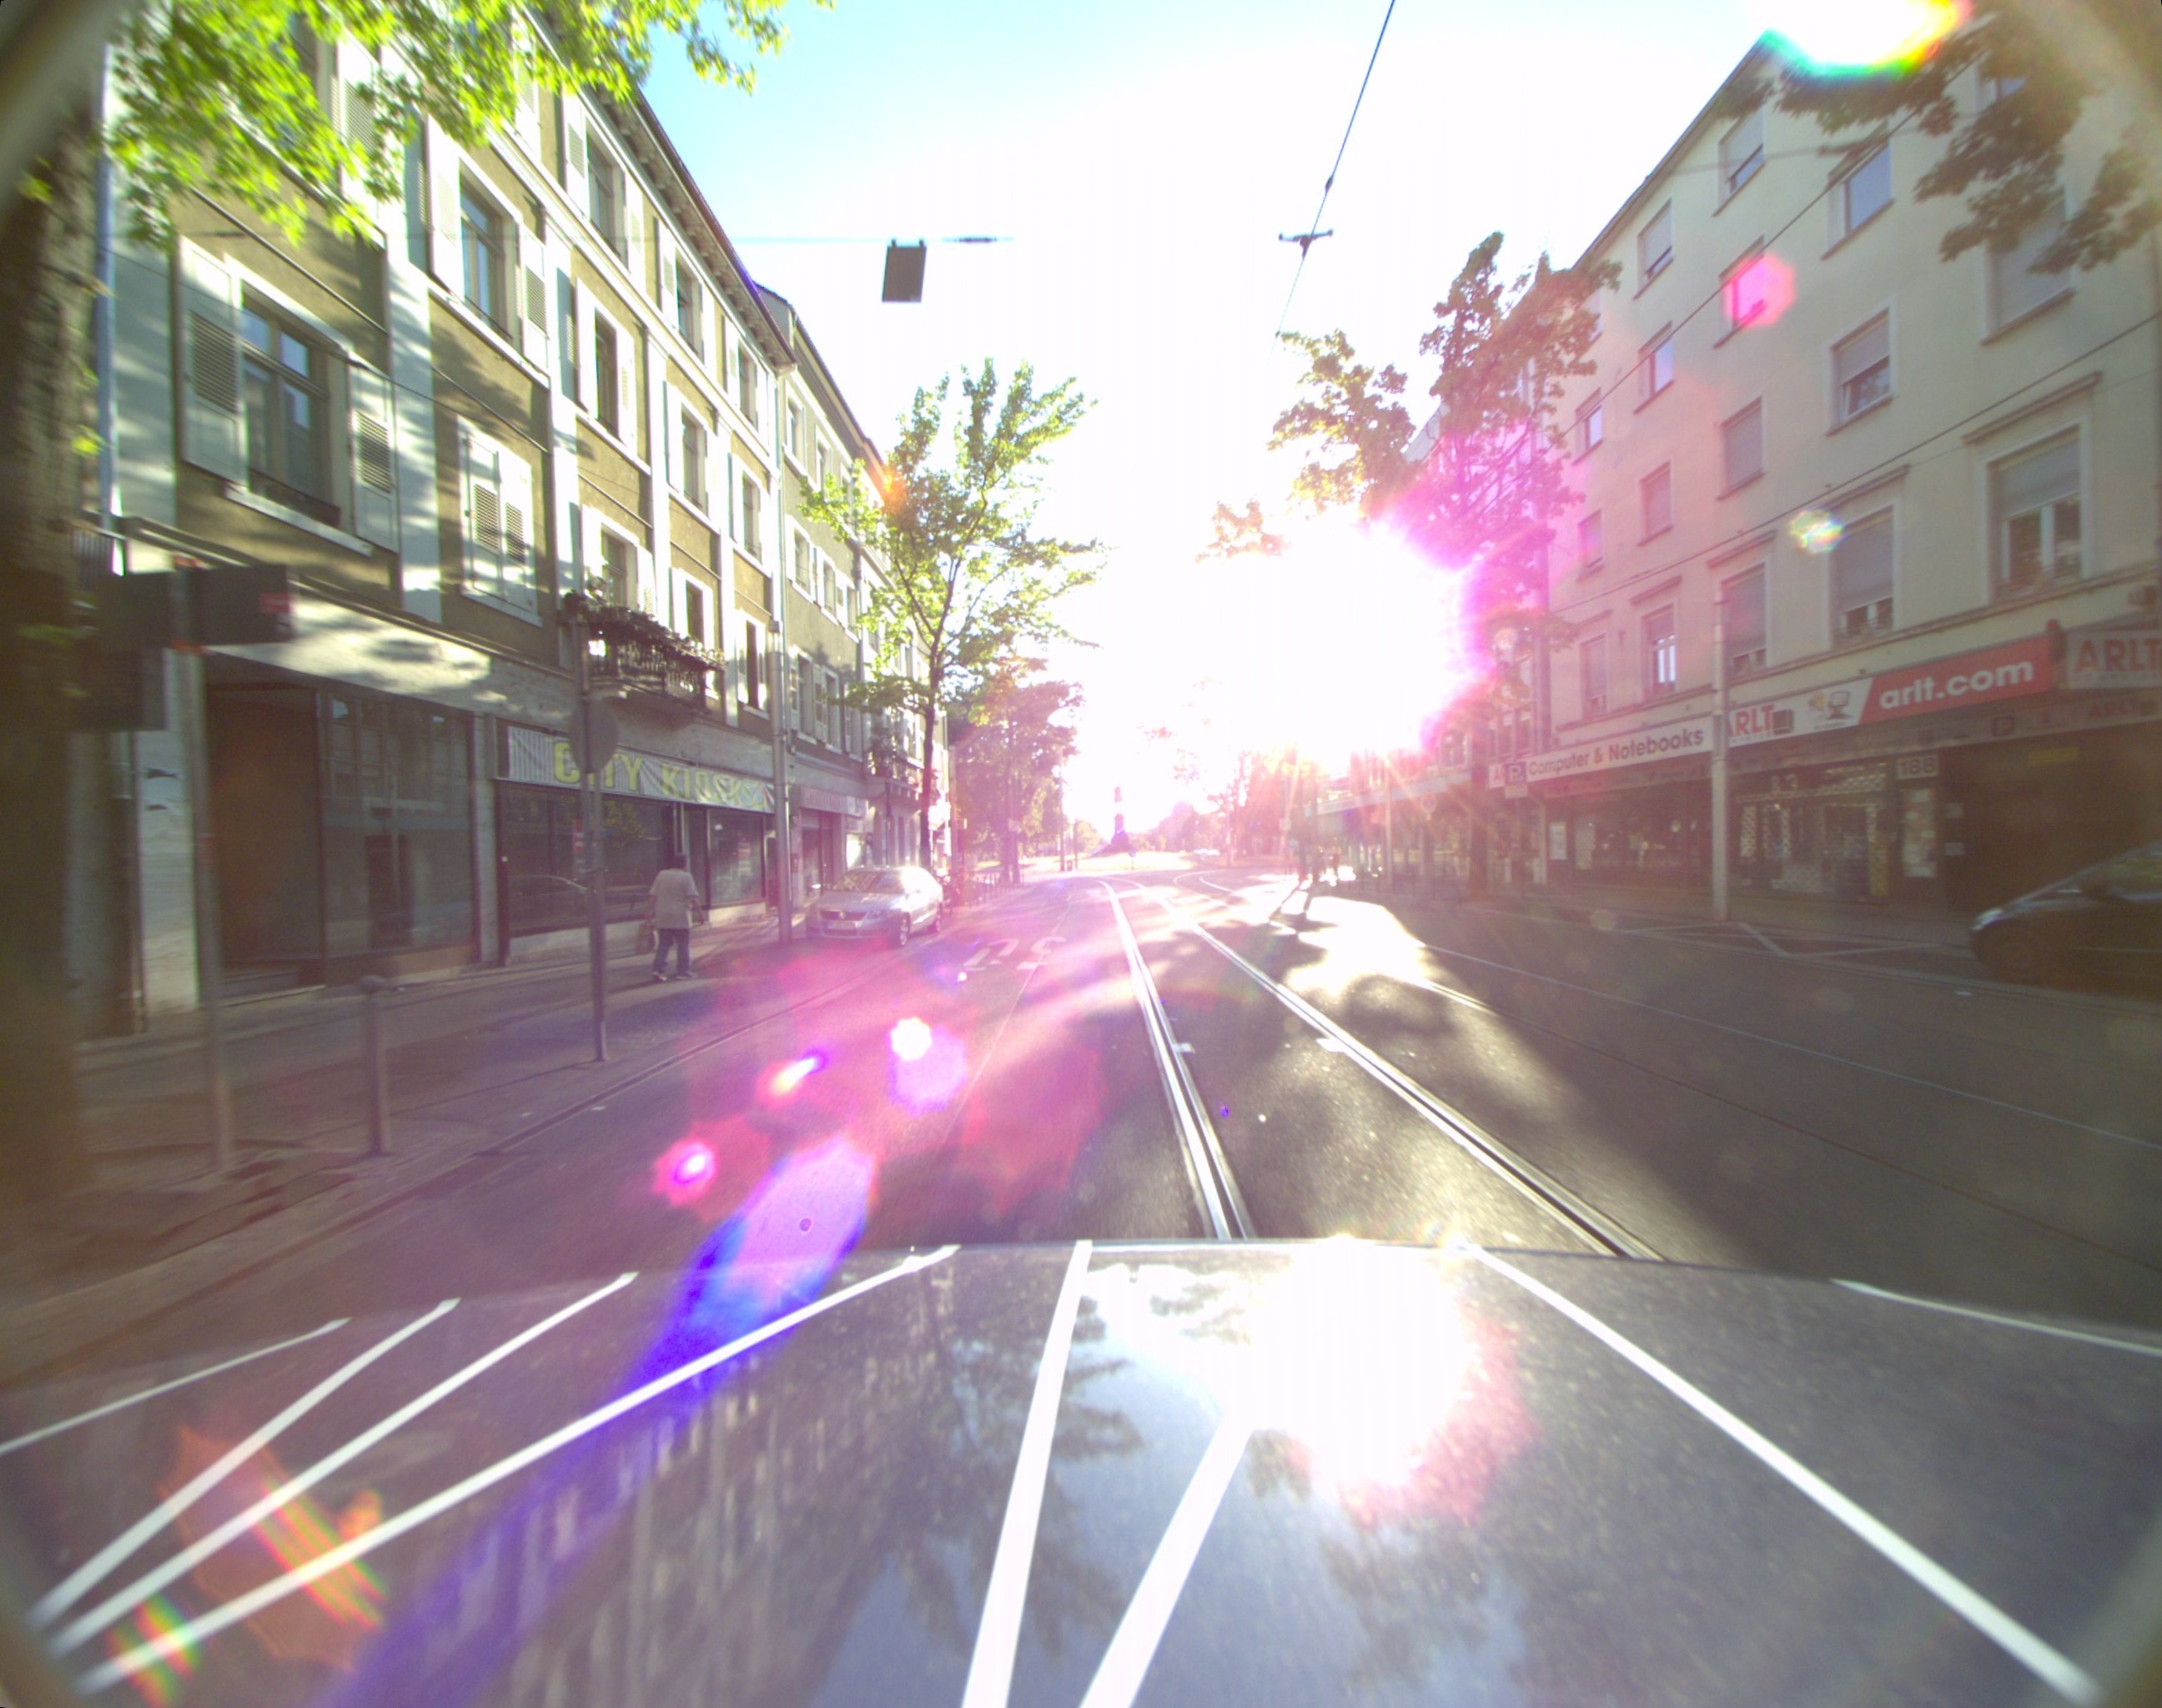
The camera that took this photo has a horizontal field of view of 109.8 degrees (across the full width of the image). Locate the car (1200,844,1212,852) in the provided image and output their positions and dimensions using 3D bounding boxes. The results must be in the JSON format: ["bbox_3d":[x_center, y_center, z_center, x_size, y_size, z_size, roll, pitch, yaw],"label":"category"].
[{"bbox_3d":[30.124,-1.476,183.821,1.999,2.002,4.547,-2,1,-1],"label":"car"}]

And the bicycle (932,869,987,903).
[{"bbox_3d":[-4.340,1.160,27.171,1.870,1.148,0.348,-2,1,3],"label":"bicycle"}]

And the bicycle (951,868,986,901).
[{"bbox_3d":[-4.177,1.102,28.129,0.462,1.148,1.677,-3,1,-38],"label":"bicycle"}]

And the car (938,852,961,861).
[{"bbox_3d":[-25.756,0.422,149.205,1.995,1.596,4.531,-2,1,28],"label":"car"}]

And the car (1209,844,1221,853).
[{"bbox_3d":[30.378,-1.181,172.420,1.998,2.002,4.000,-1,1,2],"label":"car"}]

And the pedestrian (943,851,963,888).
[{"bbox_3d":[-6.997,0.844,41.439,0.845,2.002,0.843,-2,1,2],"label":"pedestrian"}]

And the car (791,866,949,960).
[{"bbox_3d":[-4.002,1.040,15.230,1.780,1.432,4.422,1,1,2],"label":"car"}]

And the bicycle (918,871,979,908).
[{"bbox_3d":[-4.379,1.167,25.195,1.870,1.148,0.562,-2,1,3],"label":"bicycle"}]

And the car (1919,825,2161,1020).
[{"bbox_3d":[10.502,0.591,6.589,1.967,1.630,3.999,-4,1,0],"label":"car"}]

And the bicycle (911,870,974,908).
[{"bbox_3d":[-4.470,1.141,24.581,1.870,1.148,0.562,-2,1,3],"label":"bicycle"}]

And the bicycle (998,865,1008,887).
[{"bbox_3d":[-4.030,1.130,39.118,0.355,1.070,1.698,-2,1,-2],"label":"bicycle"}]

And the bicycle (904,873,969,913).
[{"bbox_3d":[-4.424,1.190,23.315,1.870,1.148,0.562,1,1,3],"label":"bicycle"}]

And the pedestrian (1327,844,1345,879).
[{"bbox_3d":[14.702,0.435,43.805,0.798,2.002,0.734,-2,2,2],"label":"pedestrian"}]

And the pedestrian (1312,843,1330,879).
[{"bbox_3d":[13.865,0.406,43.897,0.798,2.002,0.734,-2,2,2],"label":"pedestrian"}]

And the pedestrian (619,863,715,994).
[{"bbox_3d":[-5.372,0.937,9.896,0.805,1.633,0.756,0,1,2],"label":"pedestrian"}]

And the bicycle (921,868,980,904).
[{"bbox_3d":[-4.441,1.100,25.908,1.870,1.148,0.562,-2,1,3],"label":"bicycle"}]

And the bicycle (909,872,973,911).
[{"bbox_3d":[-4.397,1.176,23.979,1.870,1.148,0.562,-2,1,3],"label":"bicycle"}]

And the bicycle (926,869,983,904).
[{"bbox_3d":[-4.413,1.125,26.555,1.870,1.148,0.562,-2,1,3],"label":"bicycle"}]
